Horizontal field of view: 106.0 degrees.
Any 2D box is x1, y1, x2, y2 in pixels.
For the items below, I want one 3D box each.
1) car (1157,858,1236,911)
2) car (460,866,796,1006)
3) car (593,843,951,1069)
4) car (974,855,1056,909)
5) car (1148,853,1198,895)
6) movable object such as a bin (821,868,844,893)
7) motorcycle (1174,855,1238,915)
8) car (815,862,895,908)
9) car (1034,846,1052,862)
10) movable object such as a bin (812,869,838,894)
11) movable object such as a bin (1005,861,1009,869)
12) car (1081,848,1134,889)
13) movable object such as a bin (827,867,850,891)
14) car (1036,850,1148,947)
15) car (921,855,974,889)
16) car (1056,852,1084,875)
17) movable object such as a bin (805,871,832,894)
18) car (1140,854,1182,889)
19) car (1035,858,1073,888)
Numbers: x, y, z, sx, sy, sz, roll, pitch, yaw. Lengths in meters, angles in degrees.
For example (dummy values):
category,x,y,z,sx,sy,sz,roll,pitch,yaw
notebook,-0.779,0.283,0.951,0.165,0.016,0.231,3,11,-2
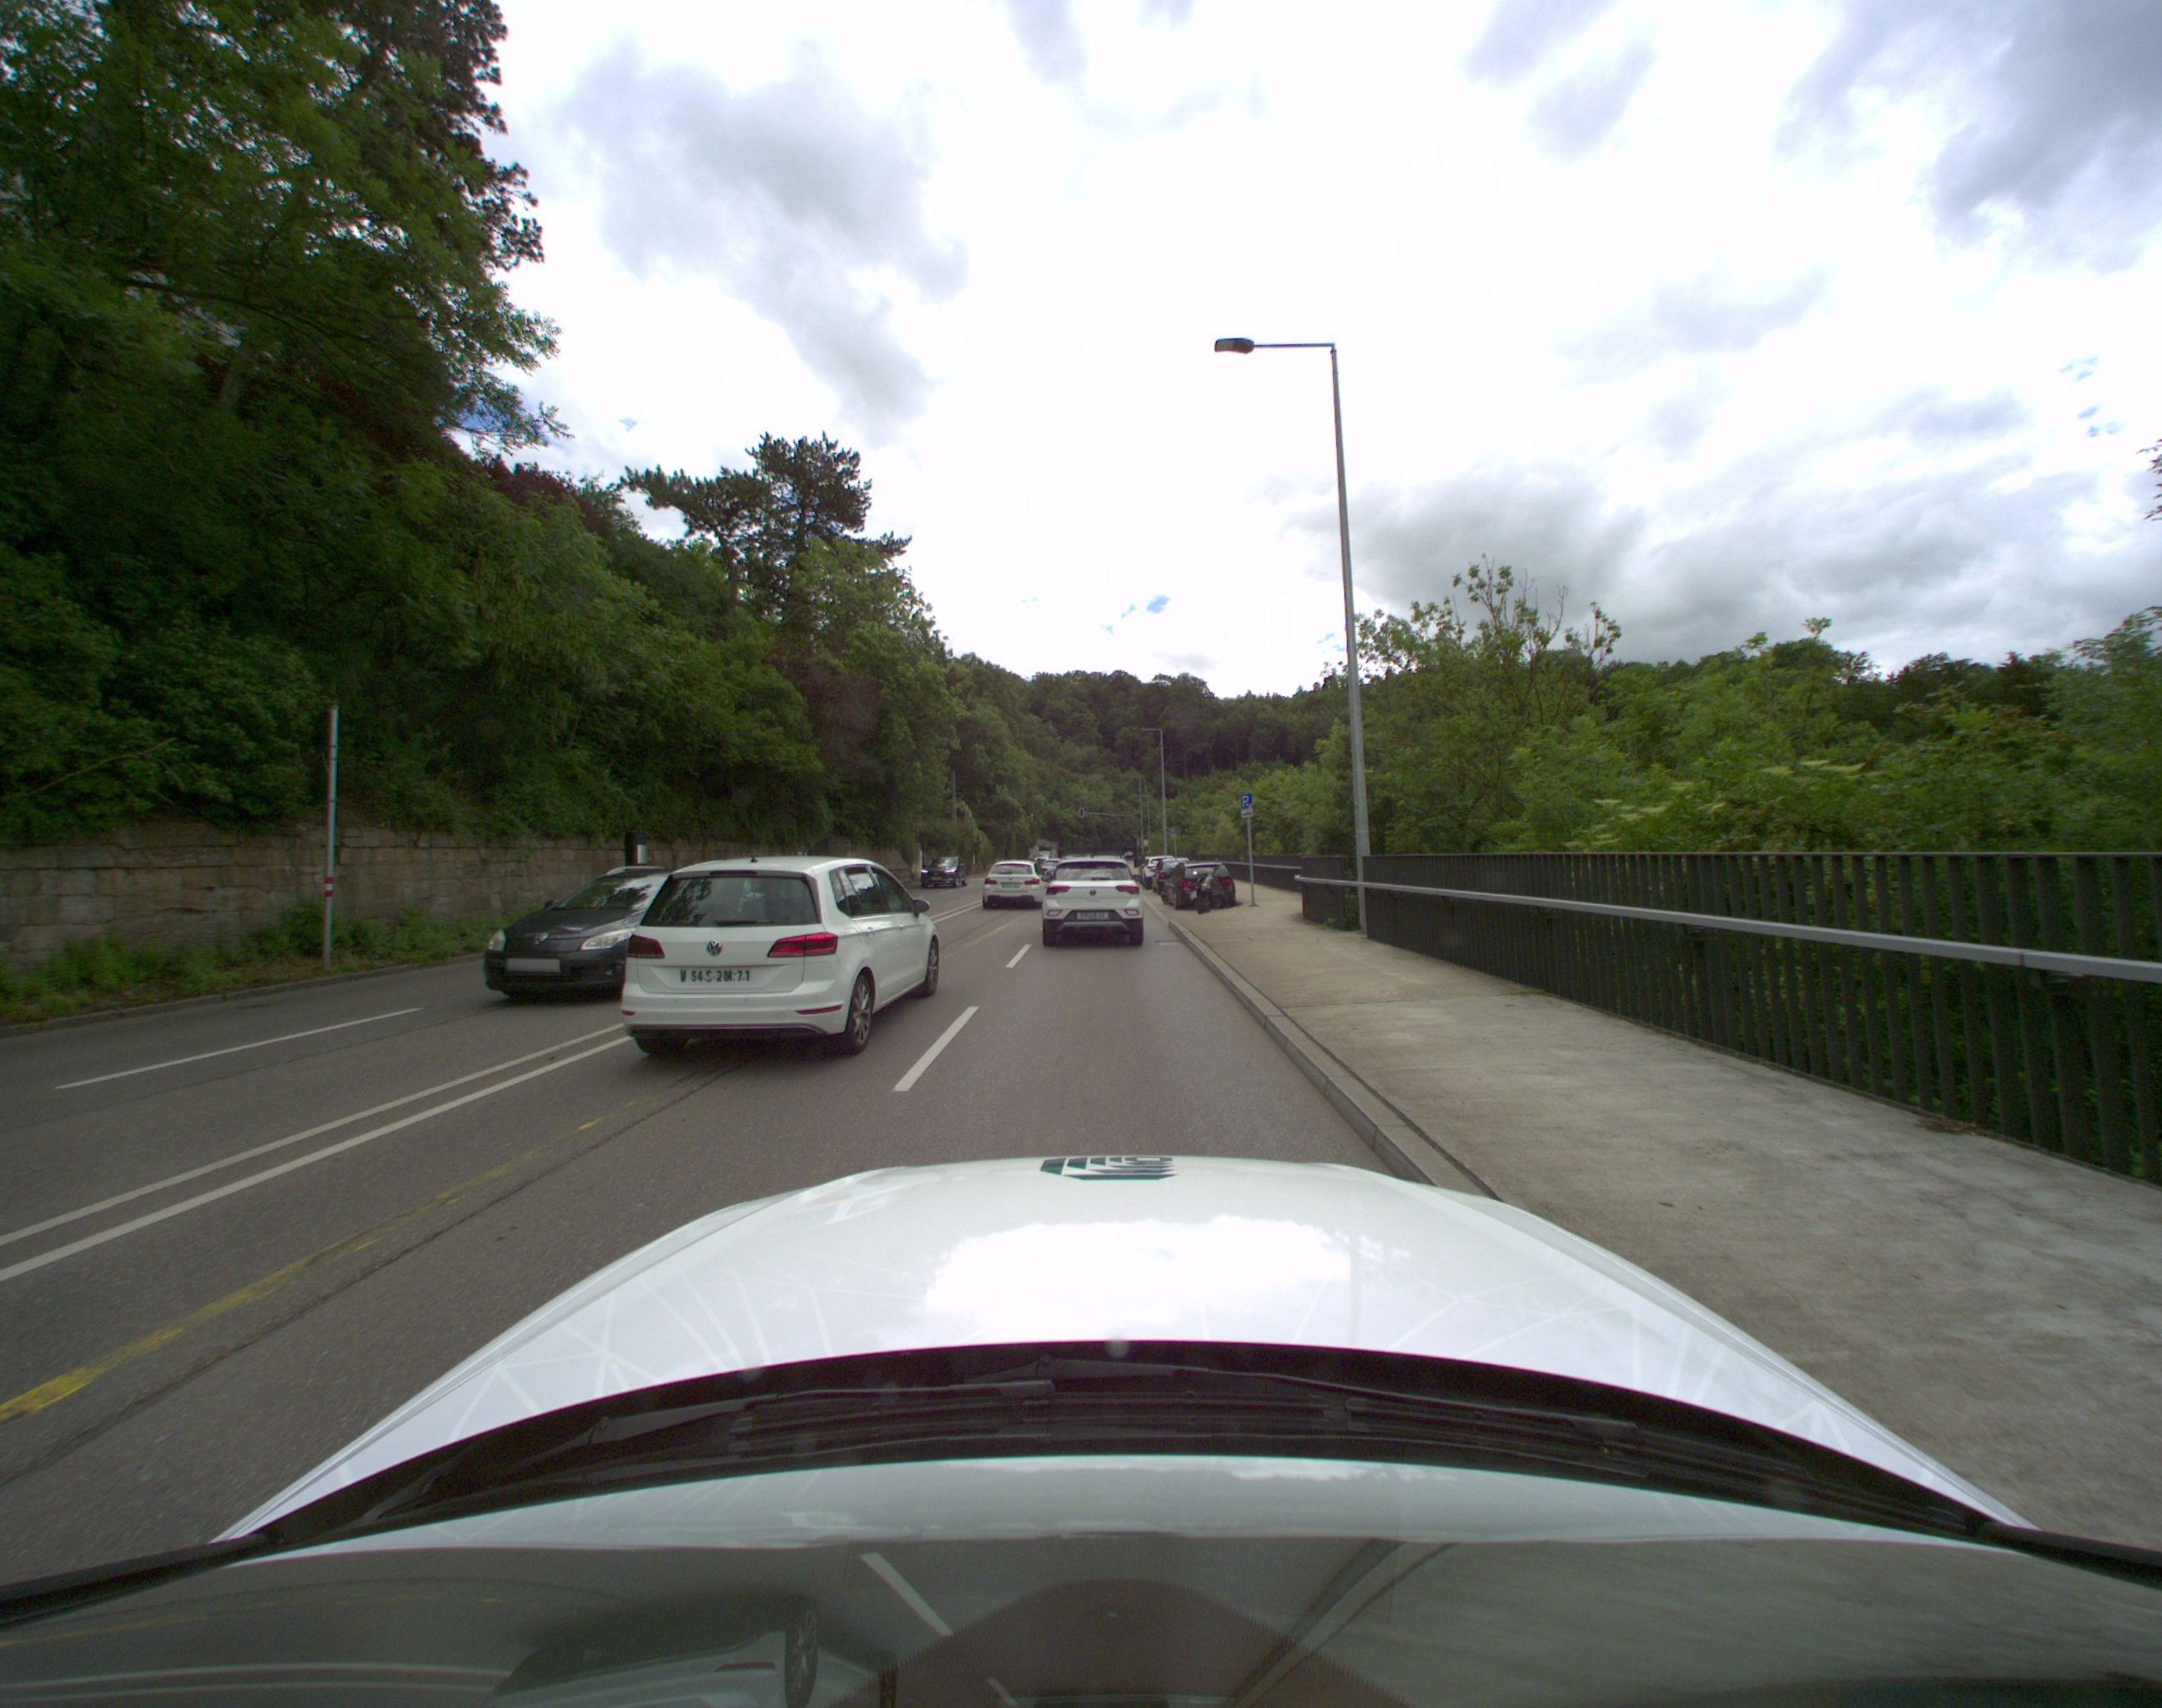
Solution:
category,x,y,z,sx,sy,sz,roll,pitch,yaw
car,3.481,0.873,25.327,1.817,1.401,4.319,-3,0,0
car,-5.523,0.892,10.715,1.849,1.446,4.298,0,-1,2
car,-2.483,0.710,7.781,1.714,1.554,4.276,0,0,1
car,-1.969,0.803,25.863,1.985,1.557,4.684,0,0,3
car,3.870,0.802,34.747,1.653,1.572,4.257,-4,0,2
movable object such as a bin,-10.930,1.145,35.827,0.770,1.062,0.717,-1,0,-2
motorcycle,3.300,0.762,21.297,0.762,1.467,2.520,-1,0,30
car,-7.599,1.011,27.673,1.577,1.461,3.525,-1,-1,3
car,-5.046,0.044,108.732,1.914,2.005,5.358,-1,0,2
movable object such as a bin,-11.041,1.177,35.115,0.896,1.034,0.621,-1,0,-2
movable object such as a bin,-8.616,1.308,95.278,0.426,0.950,0.479,1,-1,0
car,1.318,0.683,38.891,1.982,1.843,4.161,1,-1,9
movable object such as a bin,-10.882,1.117,36.565,0.785,1.071,0.708,-1,1,-2
car,0.256,0.765,15.475,1.807,1.539,4.010,-2,-1,2
car,-7.027,0.947,43.314,1.808,1.697,4.474,0,-1,3
car,-0.829,0.700,63.754,1.986,1.741,4.002,0,0,2
movable object such as a bin,-11.099,1.202,34.444,0.914,0.945,0.593,-1,0,-2
car,3.874,0.845,40.162,1.720,1.568,4.625,-2,-1,2
car,-1.489,1.054,46.737,1.855,1.595,4.002,1,0,2
